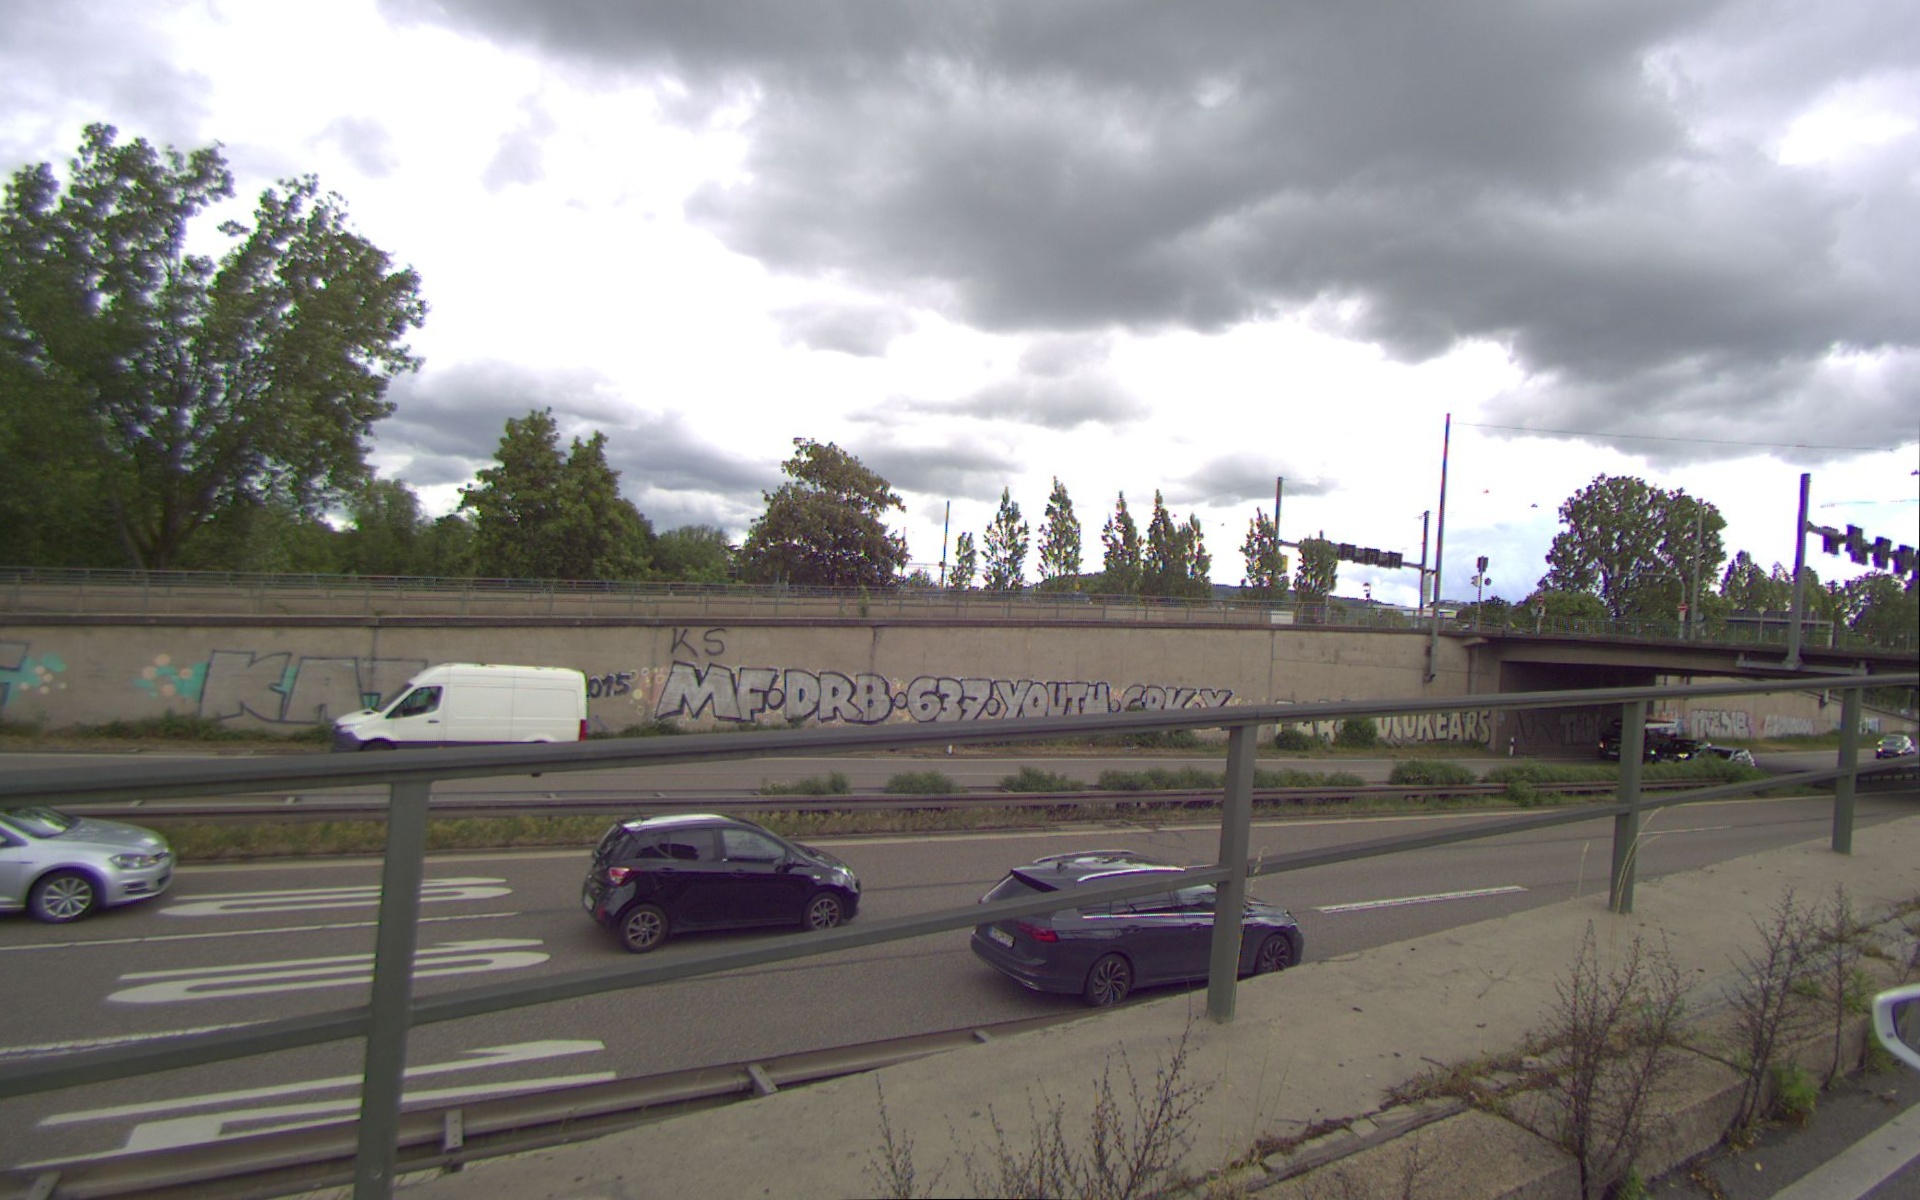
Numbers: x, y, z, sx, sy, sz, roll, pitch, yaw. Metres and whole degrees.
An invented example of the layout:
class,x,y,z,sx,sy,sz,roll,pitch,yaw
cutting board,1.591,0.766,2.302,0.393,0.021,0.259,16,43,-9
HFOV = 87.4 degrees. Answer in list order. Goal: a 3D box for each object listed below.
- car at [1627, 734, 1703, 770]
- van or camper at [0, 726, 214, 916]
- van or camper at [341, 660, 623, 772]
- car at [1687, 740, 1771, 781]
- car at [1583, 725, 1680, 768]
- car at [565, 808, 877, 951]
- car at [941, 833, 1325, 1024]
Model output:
class,x,y,z,sx,sy,sz,roll,pitch,yaw
car,38.695,8.344,55.128,3.957,1.683,1.983,6,-2,-31
van or camper,-12.562,2.476,11.385,6.277,1.893,1.873,6,-2,-31
van or camper,-12.382,3.046,26.282,6.280,2.488,2.170,6,-2,-32
car,38.235,7.964,49.948,3.957,1.683,1.983,6,-2,-31
car,39.593,8.632,59.193,6.114,2.183,2.279,6,-3,-31
car,-3.145,3.622,13.374,3.608,1.344,1.715,8,-4,-31
car,2.112,3.866,12.333,4.242,1.520,1.932,4,-3,-22
